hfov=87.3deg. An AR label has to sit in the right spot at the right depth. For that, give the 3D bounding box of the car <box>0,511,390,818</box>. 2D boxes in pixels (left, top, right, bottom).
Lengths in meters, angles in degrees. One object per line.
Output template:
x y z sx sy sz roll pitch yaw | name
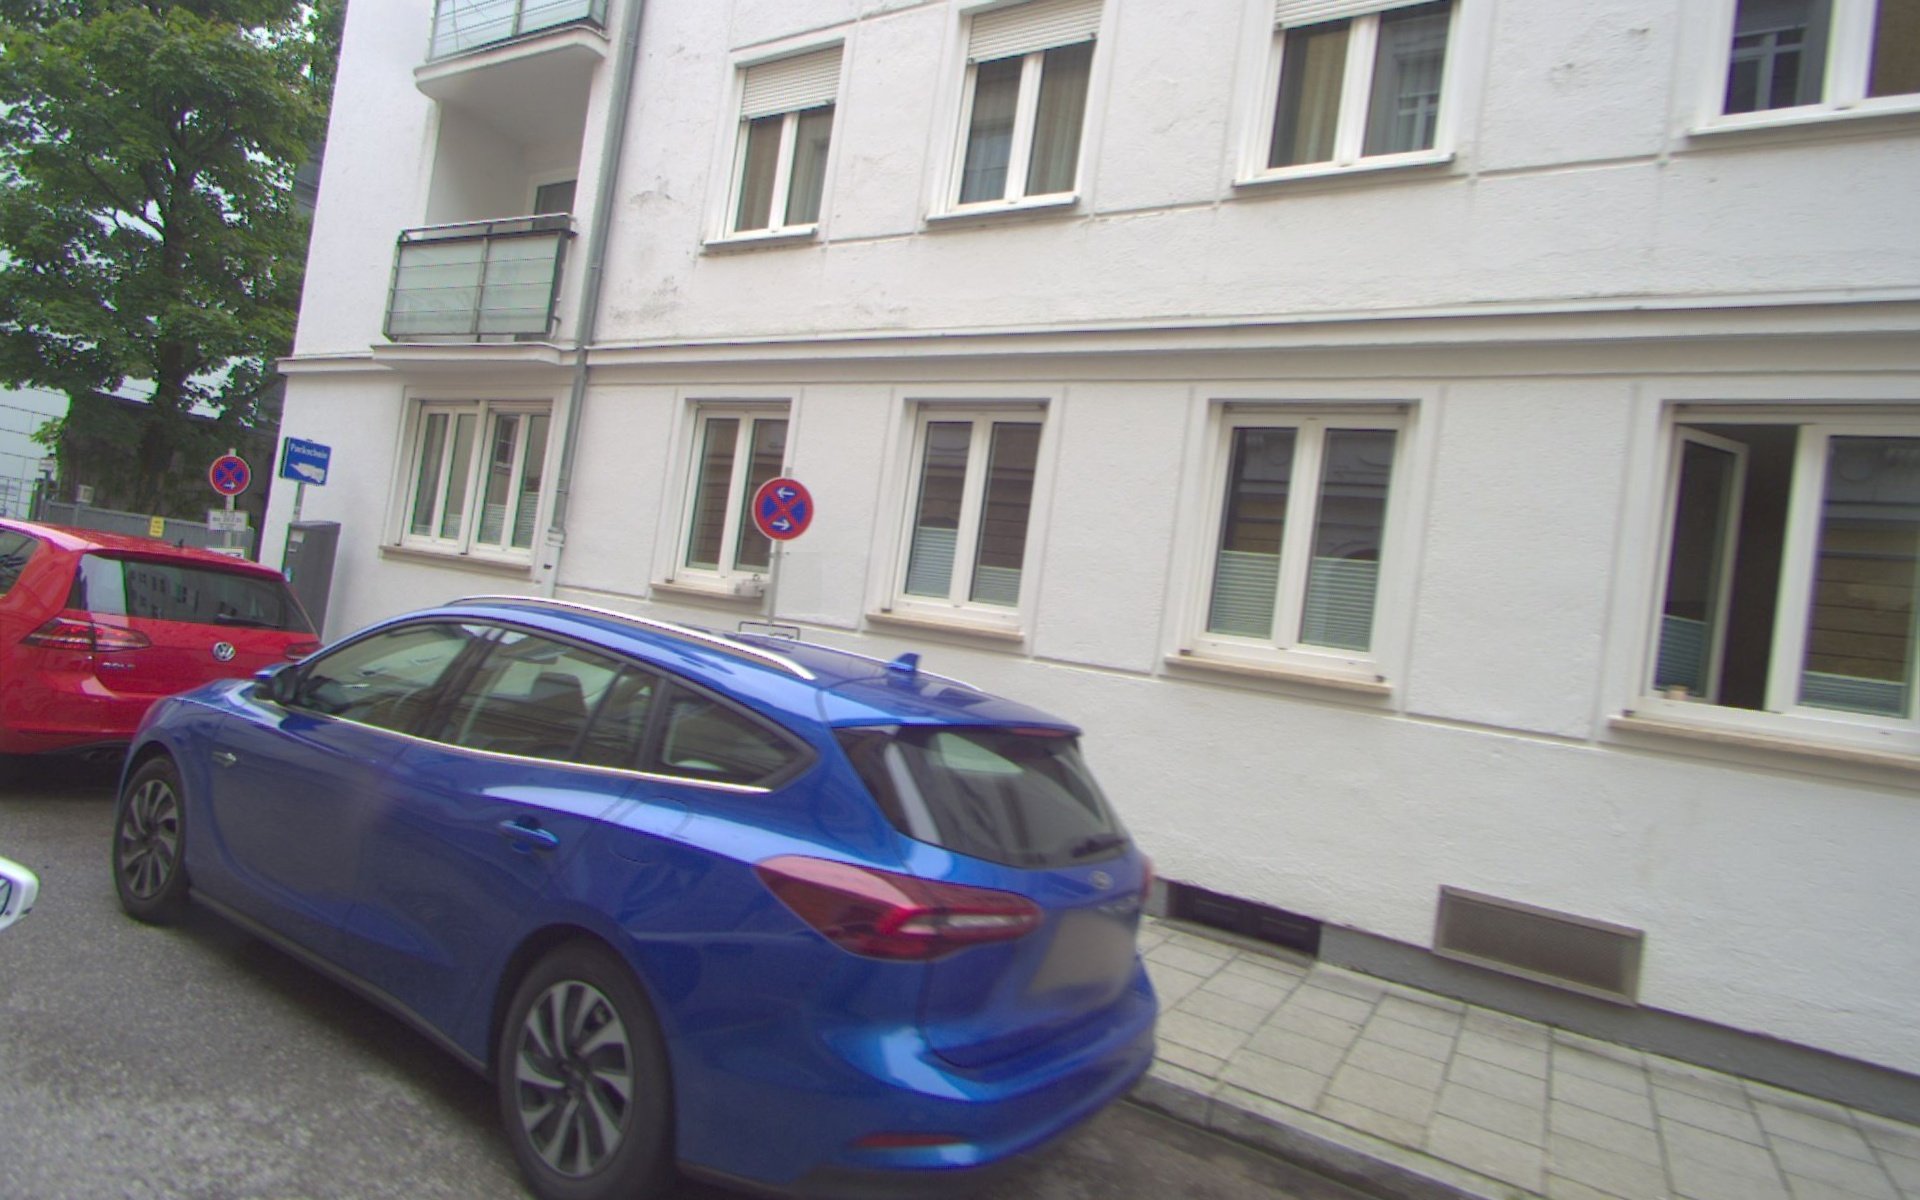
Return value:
-6.063 0.203 6.620 4.222 1.462 1.768 7 -4 26 | car

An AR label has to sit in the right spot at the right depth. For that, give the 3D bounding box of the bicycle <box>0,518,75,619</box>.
-13.822 -0.505 14.723 1.803 1.212 0.709 10 0 32 | bicycle

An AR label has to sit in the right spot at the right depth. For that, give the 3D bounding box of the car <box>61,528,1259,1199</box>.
-1.357 0.753 3.793 4.311 1.453 1.800 7 -4 33 | car
